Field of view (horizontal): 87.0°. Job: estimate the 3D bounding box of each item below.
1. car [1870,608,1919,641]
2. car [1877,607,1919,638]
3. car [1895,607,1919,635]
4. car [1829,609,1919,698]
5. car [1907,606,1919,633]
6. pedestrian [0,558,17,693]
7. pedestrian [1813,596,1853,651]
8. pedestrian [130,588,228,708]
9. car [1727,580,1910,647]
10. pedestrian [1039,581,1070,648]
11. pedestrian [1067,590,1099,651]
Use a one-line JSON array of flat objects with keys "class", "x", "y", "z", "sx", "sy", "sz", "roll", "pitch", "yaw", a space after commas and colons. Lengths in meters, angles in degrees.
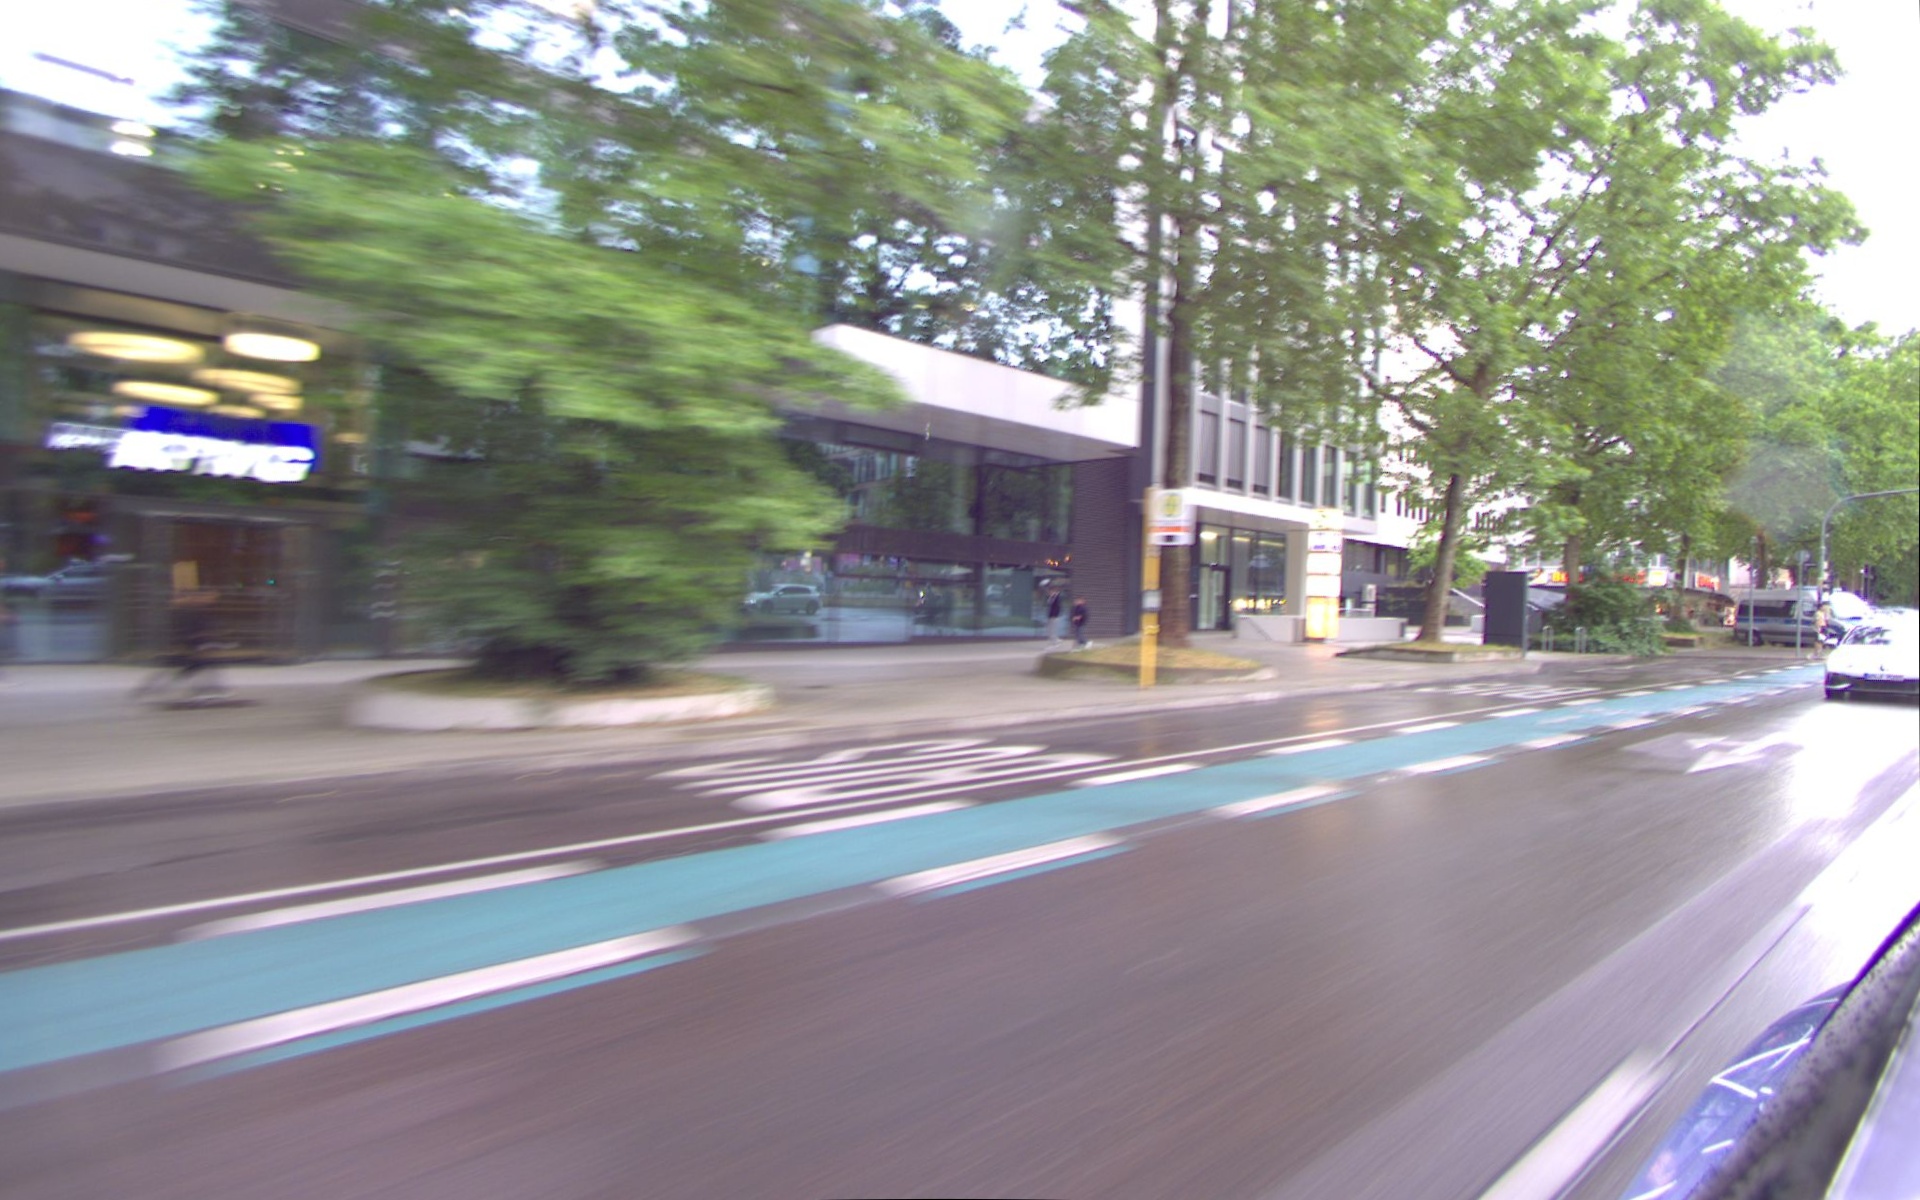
[{"class": "car", "x": 45.778, "y": 1.185, "z": 49.431, "sx": 3.365, "sy": 1.545, "sz": 1.597, "roll": 1, "pitch": 0, "yaw": -41}, {"class": "car", "x": 48.772, "y": 1.146, "z": 52.356, "sx": 3.366, "sy": 1.545, "sz": 1.596, "roll": 1, "pitch": 0, "yaw": -41}, {"class": "car", "x": 52.831, "y": 1.142, "z": 55.773, "sx": 3.366, "sy": 1.534, "sz": 1.596, "roll": 1, "pitch": 0, "yaw": -41}, {"class": "car", "x": 17.436, "y": 0.914, "z": 18.510, "sx": 3.727, "sy": 1.490, "sz": 1.794, "roll": 1, "pitch": -1, "yaw": -41}, {"class": "car", "x": 55.906, "y": 1.139, "z": 58.364, "sx": 3.366, "sy": 1.545, "sz": 1.596, "roll": 1, "pitch": 0, "yaw": -41}, {"class": "pedestrian", "x": -13.673, "y": 0.326, "z": 13.807, "sx": 1.067, "sy": 1.816, "sz": 0.789, "roll": 2, "pitch": 2, "yaw": -39}, {"class": "pedestrian", "x": 30.393, "y": 0.801, "z": 35.218, "sx": 0.707, "sy": 1.873, "sz": 0.892, "roll": 0, "pitch": 0, "yaw": -34}, {"class": "pedestrian", "x": -10.393, "y": 0.620, "z": 13.474, "sx": 0.987, "sy": 1.524, "sz": 0.588, "roll": 1, "pitch": 0, "yaw": -40}, {"class": "car", "x": 37.334, "y": 0.524, "z": 44.329, "sx": 2.275, "sy": 2.714, "sz": 6.291, "roll": 0, "pitch": 0, "yaw": -5}, {"class": "pedestrian", "x": 2.714, "y": 0.414, "z": 29.067, "sx": 0.692, "sy": 1.881, "sz": 0.523, "roll": -1, "pitch": 3, "yaw": -41}, {"class": "pedestrian", "x": 3.473, "y": 0.567, "z": 28.485, "sx": 0.707, "sy": 1.645, "sz": 0.527, "roll": -1, "pitch": 3, "yaw": -41}]
